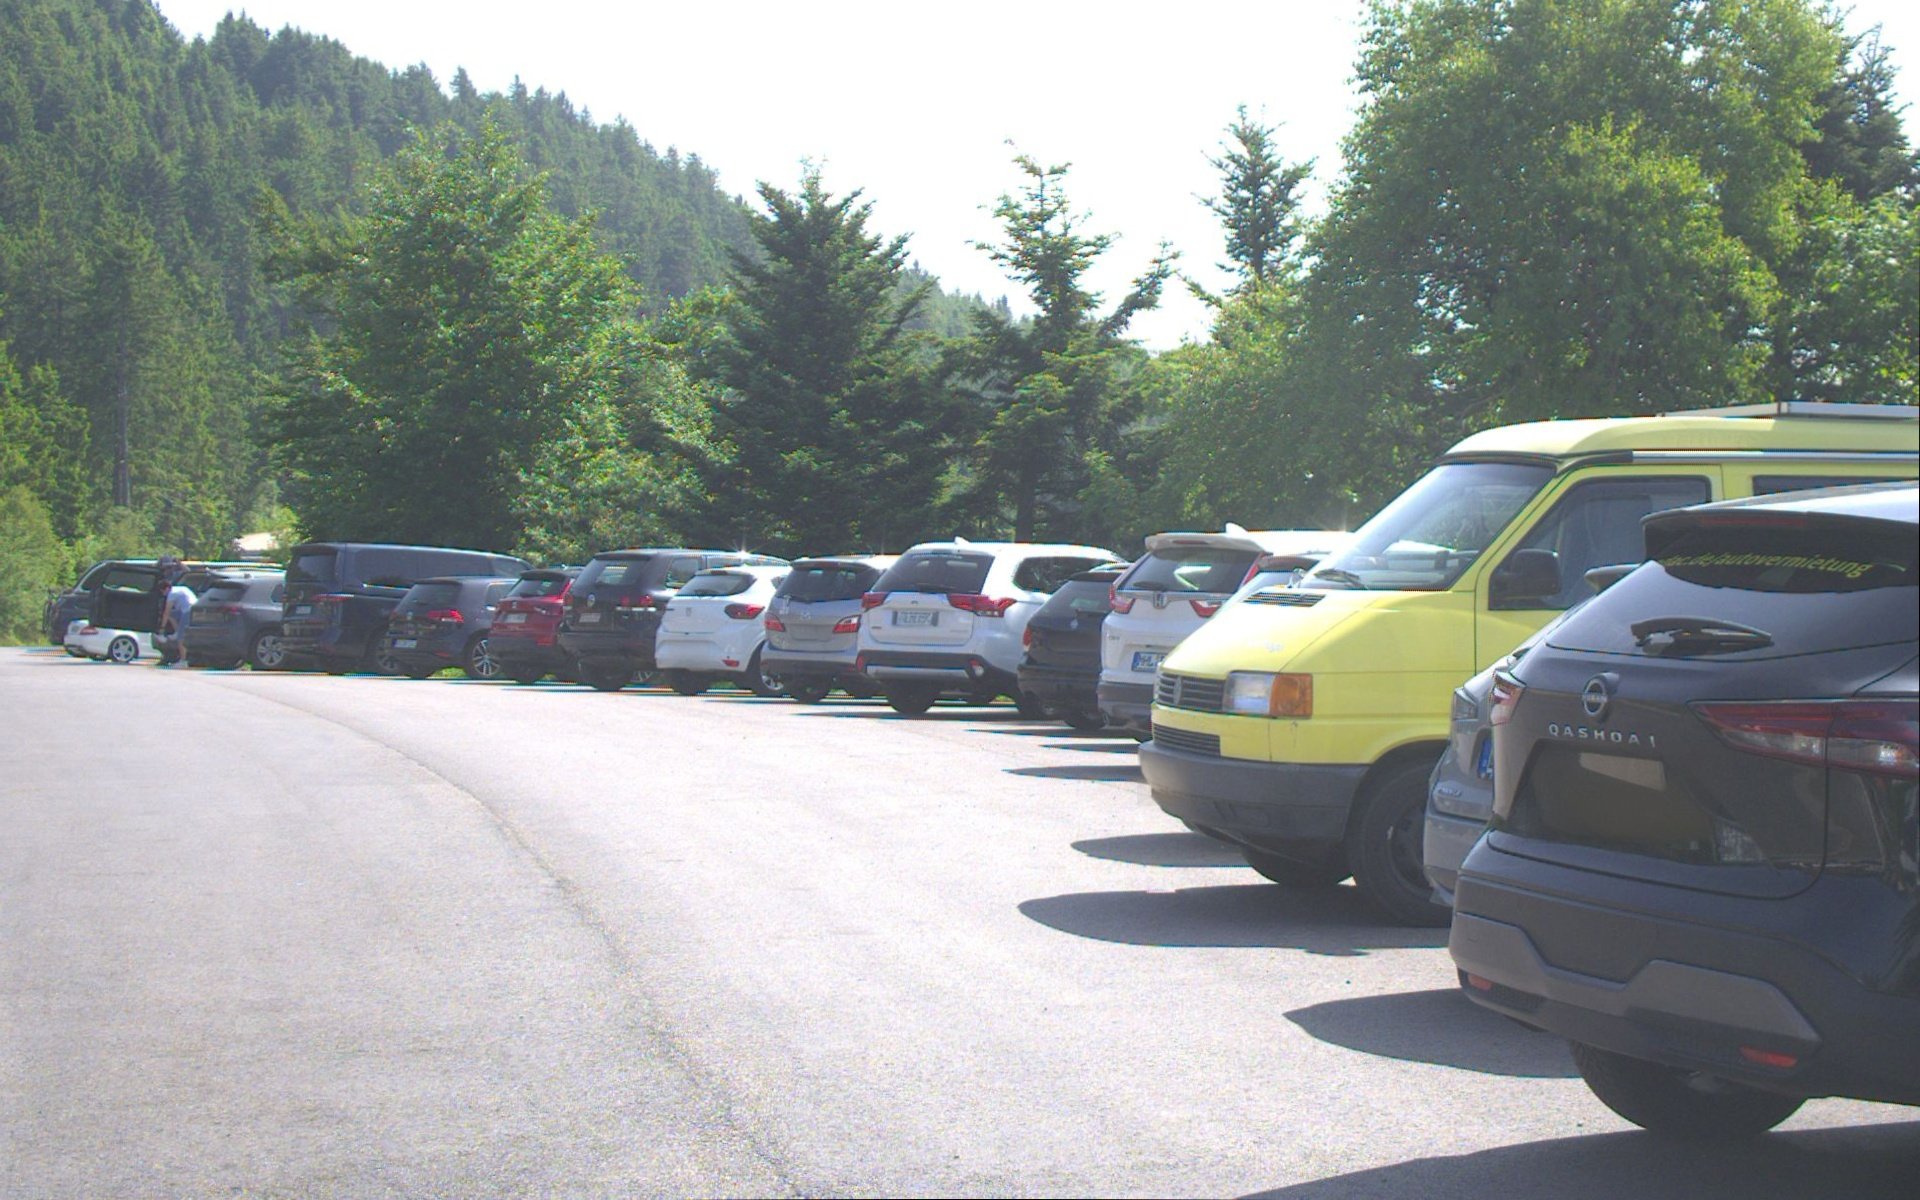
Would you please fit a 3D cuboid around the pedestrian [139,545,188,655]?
[{"bbox_3d":[-12.936,0.007,55.867,0.579,1.755,0.633,2,-1,-1],"label":"pedestrian"}]

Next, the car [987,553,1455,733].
[{"bbox_3d":[2.356,0.398,30.385,4.040,1.456,1.894,2,-1,-45],"label":"car"}]

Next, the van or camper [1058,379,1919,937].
[{"bbox_3d":[3.153,0.260,14.094,5.088,2.007,1.883,2,1,-15],"label":"van or camper"}]

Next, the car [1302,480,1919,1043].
[{"bbox_3d":[3.353,0.464,10.944,4.149,1.583,1.705,1,1,-13],"label":"car"}]

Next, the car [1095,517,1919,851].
[{"bbox_3d":[3.071,0.361,17.848,4.349,1.482,1.813,-2,2,-19],"label":"car"}]

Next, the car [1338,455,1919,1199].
[{"bbox_3d":[3.106,0.537,7.897,3.986,1.608,1.917,1,1,-21],"label":"car"}]

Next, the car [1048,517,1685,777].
[{"bbox_3d":[2.867,0.349,23.888,4.172,1.644,1.891,2,-1,-36],"label":"car"}]

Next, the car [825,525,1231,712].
[{"bbox_3d":[0.736,0.184,33.781,1.861,1.689,4.218,2,0,36],"label":"car"}]

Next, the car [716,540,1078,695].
[{"bbox_3d":[-0.627,0.214,37.187,1.818,1.544,3.991,2,-1,36],"label":"car"}]

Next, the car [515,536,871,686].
[{"bbox_3d":[-3.209,0.158,42.086,1.988,1.689,4.264,2,-1,36],"label":"car"}]

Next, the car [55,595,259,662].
[{"bbox_3d":[-19.441,0.694,83.275,4.453,1.294,1.582,5,-1,-32],"label":"car"}]

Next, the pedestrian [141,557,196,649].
[{"bbox_3d":[-12.400,0.042,53.855,0.773,1.398,0.669,-1,2,-10],"label":"pedestrian"}]

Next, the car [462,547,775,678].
[{"bbox_3d":[-4.449,0.185,45.243,1.861,1.584,3.991,2,-1,36],"label":"car"}]

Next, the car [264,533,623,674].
[{"bbox_3d":[-7.526,0.059,50.302,4.758,1.873,1.966,2,-1,-35],"label":"car"}]

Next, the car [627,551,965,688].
[{"bbox_3d":[-1.854,0.249,40.032,1.766,1.471,3.991,2,-1,36],"label":"car"}]

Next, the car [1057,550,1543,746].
[{"bbox_3d":[2.800,0.409,27.902,3.795,1.454,1.662,2,0,-39],"label":"car"}]

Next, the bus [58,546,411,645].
[{"bbox_3d":[-27.663,-0.190,131.414,12.860,3.566,2.982,0,2,1],"label":"bus"}]

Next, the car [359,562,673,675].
[{"bbox_3d":[-6.078,0.260,47.345,3.989,1.410,1.744,2,-1,-43],"label":"car"}]

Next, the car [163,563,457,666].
[{"bbox_3d":[-9.961,0.228,52.756,3.987,1.438,1.839,2,-1,-37],"label":"car"}]

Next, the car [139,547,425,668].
[{"bbox_3d":[-10.939,0.138,55.582,3.988,1.656,1.999,6,-3,-43],"label":"car"}]
